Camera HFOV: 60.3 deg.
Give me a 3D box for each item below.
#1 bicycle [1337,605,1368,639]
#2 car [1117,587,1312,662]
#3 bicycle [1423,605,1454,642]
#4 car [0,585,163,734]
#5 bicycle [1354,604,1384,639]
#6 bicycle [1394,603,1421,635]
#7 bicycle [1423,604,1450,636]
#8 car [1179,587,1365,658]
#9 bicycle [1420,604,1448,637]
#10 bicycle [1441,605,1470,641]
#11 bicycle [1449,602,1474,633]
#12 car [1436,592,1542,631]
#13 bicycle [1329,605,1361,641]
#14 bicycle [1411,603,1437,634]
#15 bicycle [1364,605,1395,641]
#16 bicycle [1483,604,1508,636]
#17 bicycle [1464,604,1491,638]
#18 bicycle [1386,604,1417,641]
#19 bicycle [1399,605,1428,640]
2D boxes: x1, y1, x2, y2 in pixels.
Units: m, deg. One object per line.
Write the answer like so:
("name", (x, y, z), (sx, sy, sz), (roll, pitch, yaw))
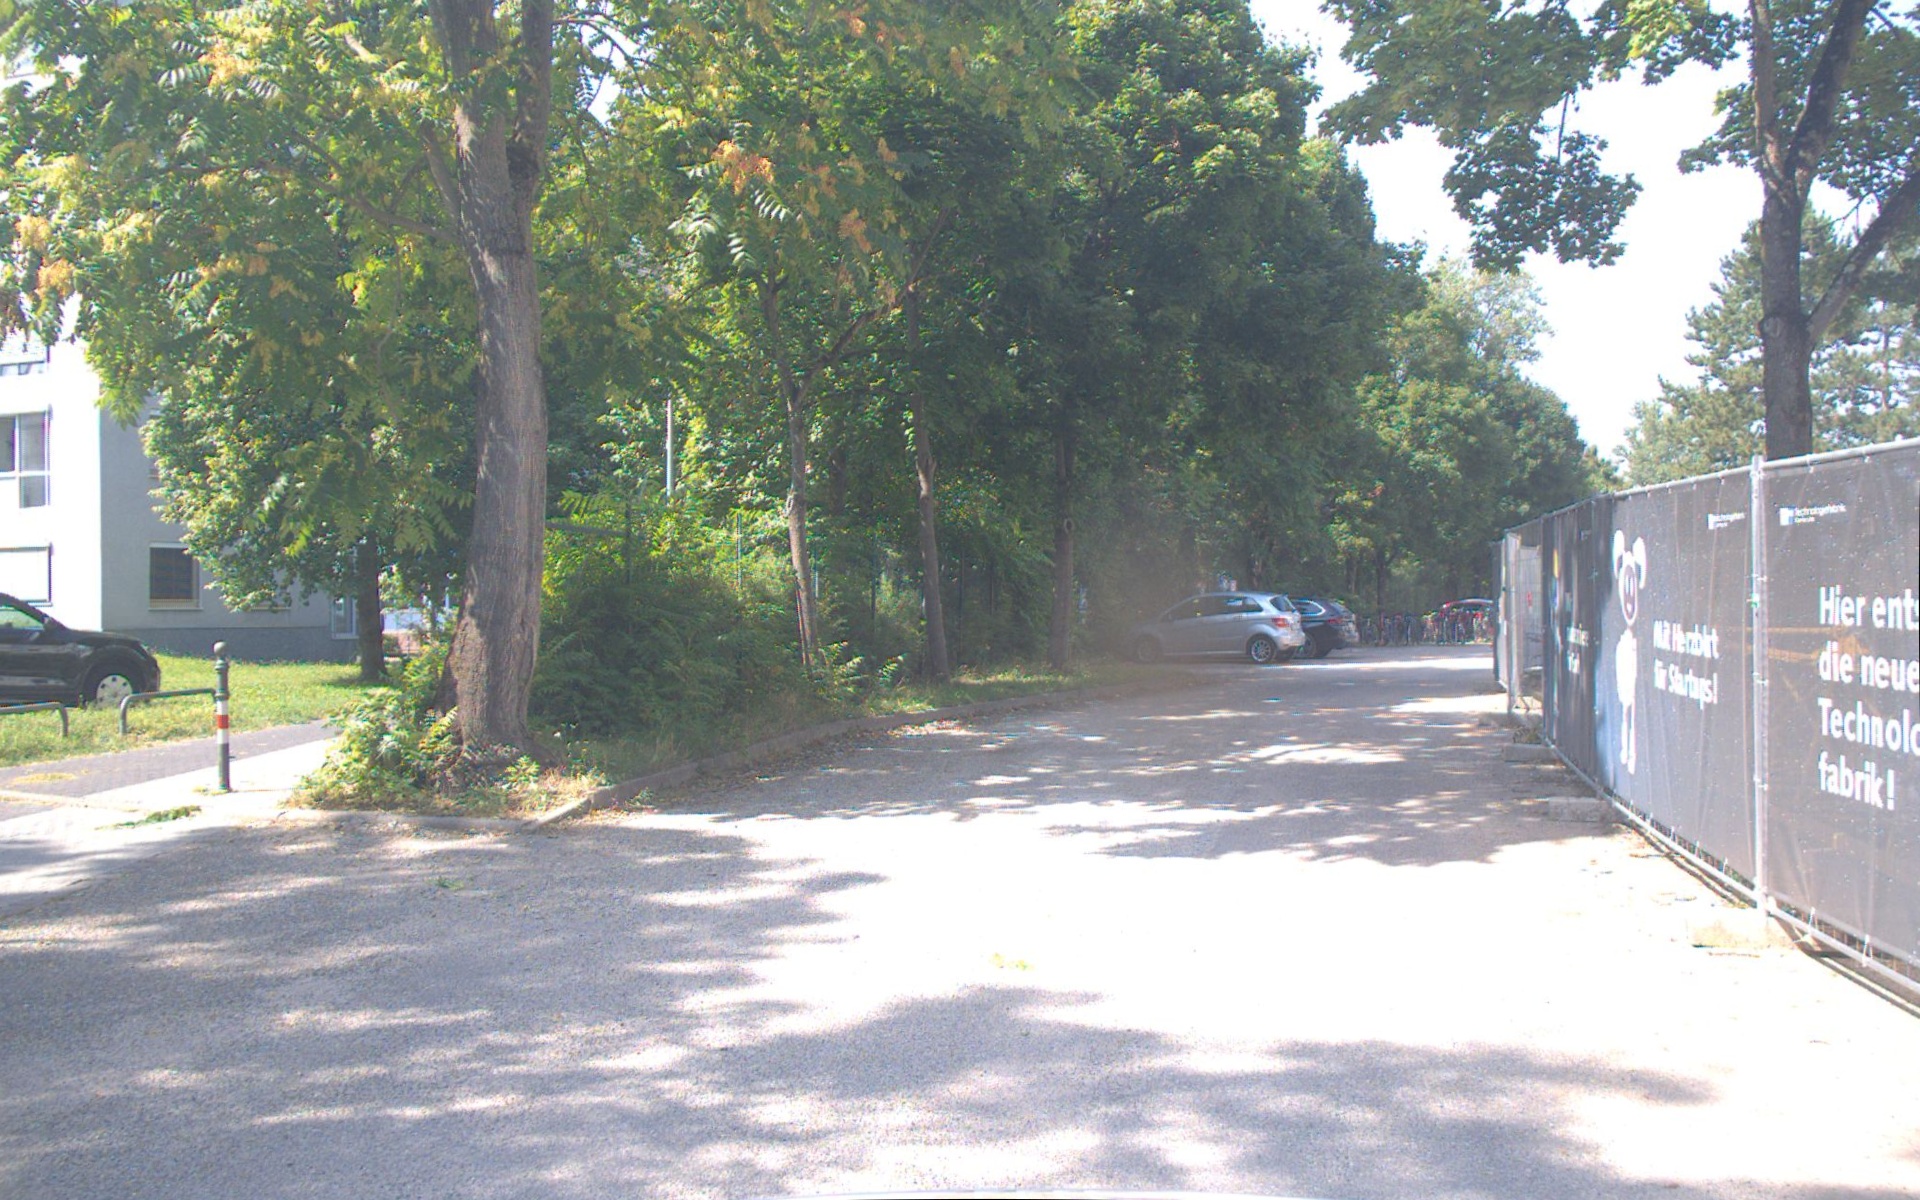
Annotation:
("bicycle", (13.072, 0.724, 55.037), (0.489, 1.127, 1.796), (0, 0, 30))
("car", (5.882, 0.528, 38.217), (4.067, 1.641, 1.998), (0, 0, 27))
("bicycle", (14.785, 0.713, 51.076), (0.489, 1.127, 1.796), (0, 0, 30))
("car", (-10.792, 0.628, 17.592), (1.671, 1.554, 3.903), (-1, 0, 32))
("bicycle", (13.552, 0.713, 54.811), (0.489, 1.127, 1.796), (0, 0, 30))
("bicycle", (16.242, 0.688, 60.067), (0.489, 1.127, 1.796), (0, 0, 30))
("bicycle", (17.053, 0.705, 59.183), (0.489, 1.127, 1.796), (0, 0, 30))
("car", (7.598, 0.504, 40.235), (4.067, 1.641, 1.998), (0, 0, 27))
("bicycle", (16.386, 0.705, 57.175), (0.489, 1.127, 1.796), (0, 0, 30))
("bicycle", (16.014, 0.726, 53.434), (0.489, 1.127, 1.796), (0, 0, 30))
("bicycle", (18.833, 0.654, 62.106), (0.489, 1.127, 1.796), (0, 0, 30))
("car", (21.451, 0.453, 67.077), (3.908, 1.537, 1.799), (0, 0, 25))
("bicycle", (12.358, 0.720, 53.027), (0.489, 1.127, 1.796), (0, 0, 30))
("bicycle", (17.496, 0.681, 62.330), (0.489, 1.127, 1.796), (0, 0, 30))
("bicycle", (13.422, 0.732, 52.855), (0.489, 1.127, 1.796), (0, 0, 30))
("bicycle", (19.045, 0.704, 58.795), (0.489, 1.127, 1.796), (0, 0, 30))
("bicycle", (17.861, 0.710, 57.059), (0.489, 1.127, 1.796), (0, 0, 30))
("bicycle", (13.918, 0.706, 52.122), (0.489, 1.127, 1.796), (0, 0, 30))
("bicycle", (14.961, 0.725, 54.550), (0.489, 1.127, 1.796), (0, 0, 30))
